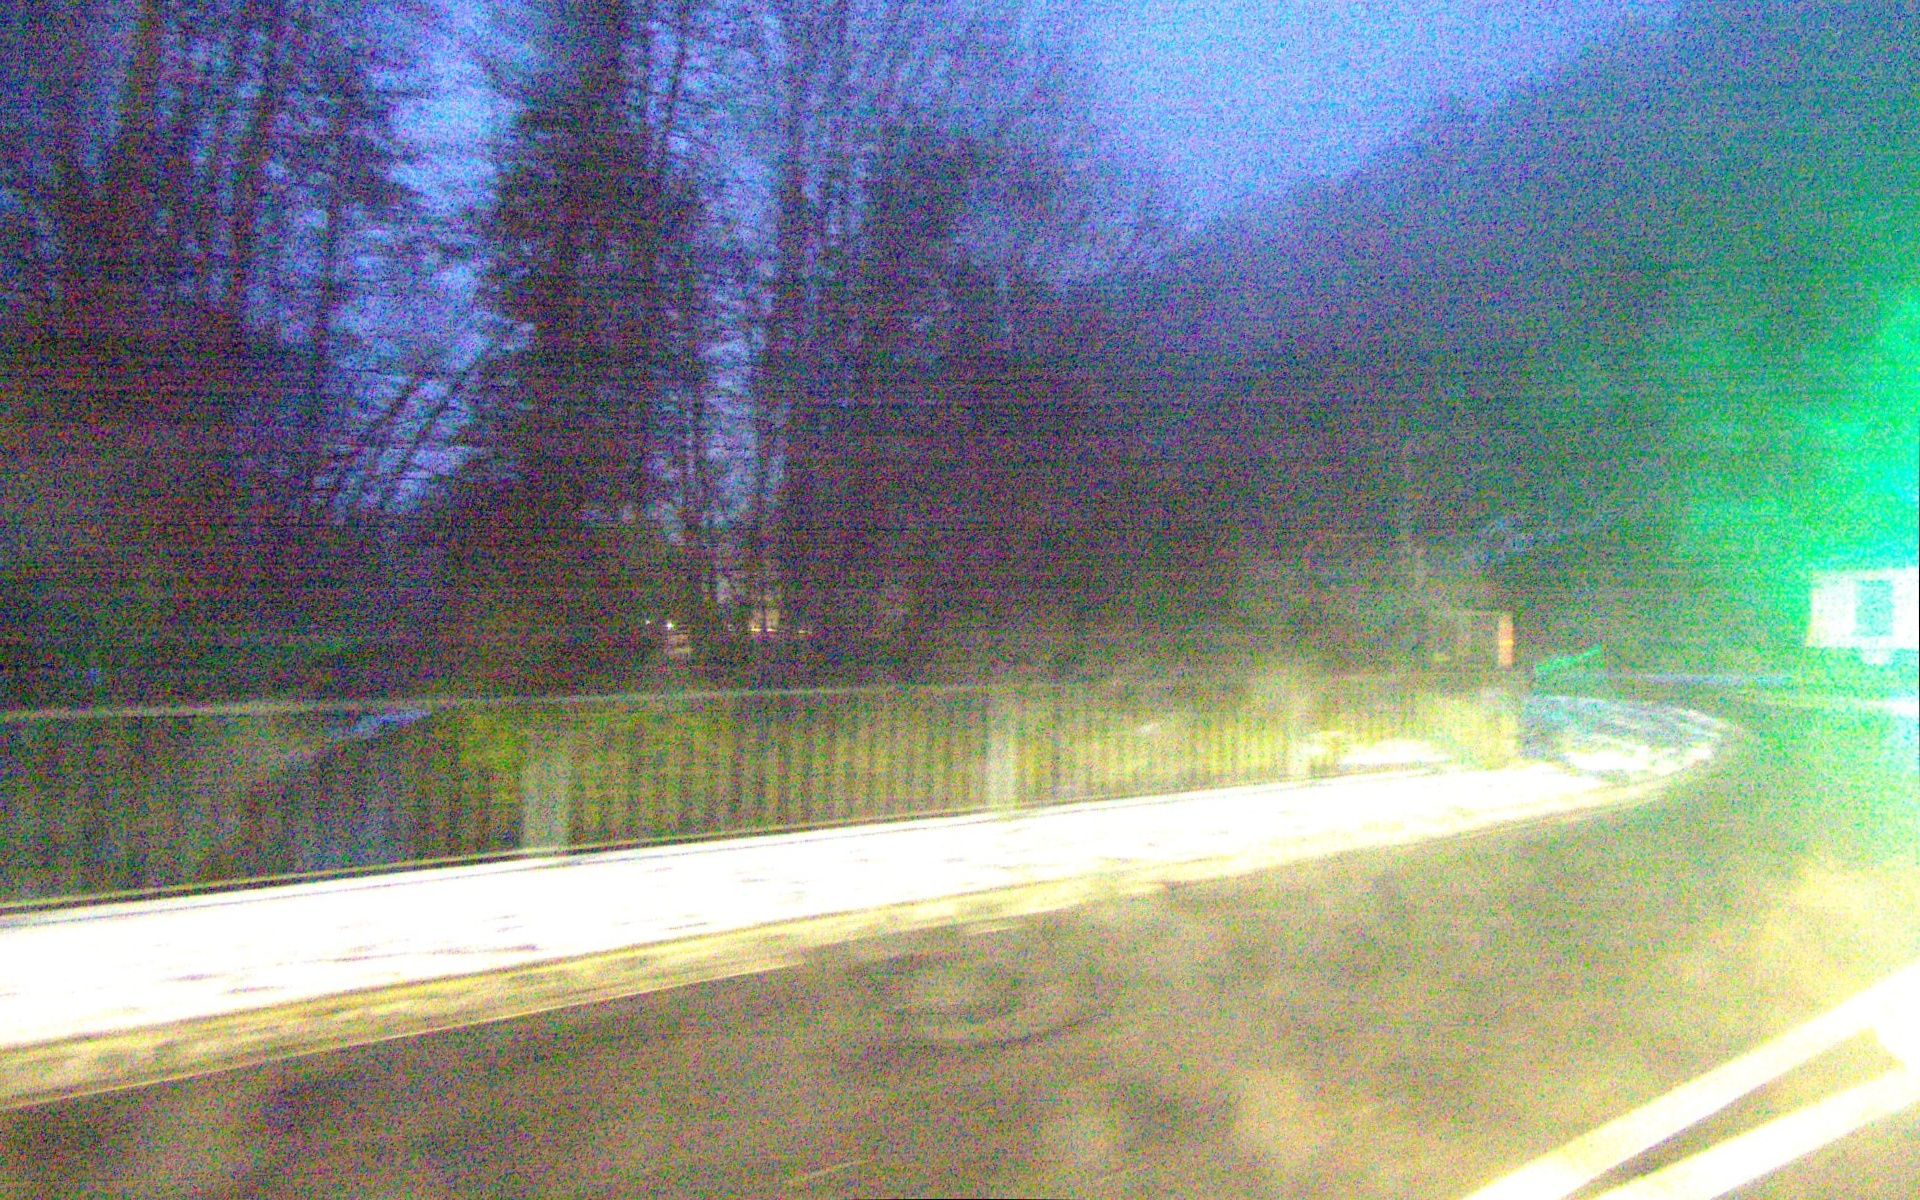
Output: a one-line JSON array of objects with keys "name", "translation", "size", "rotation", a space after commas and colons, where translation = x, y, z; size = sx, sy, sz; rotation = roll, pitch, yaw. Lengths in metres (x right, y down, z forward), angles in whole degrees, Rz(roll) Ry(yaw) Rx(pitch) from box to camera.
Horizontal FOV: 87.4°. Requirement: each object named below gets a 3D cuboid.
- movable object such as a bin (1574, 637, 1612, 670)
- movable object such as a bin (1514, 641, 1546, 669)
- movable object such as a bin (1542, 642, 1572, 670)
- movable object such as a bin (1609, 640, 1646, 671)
[{"name": "movable object such as a bin", "translation": [30.458, 2.559, 48.330], "size": [1.370, 1.432, 1.245], "rotation": [2, 2, 39]}, {"name": "movable object such as a bin", "translation": [28.508, 2.754, 50.231], "size": [1.300, 1.326, 1.173], "rotation": [-1, -1, 32]}, {"name": "movable object such as a bin", "translation": [29.264, 2.738, 49.223], "size": [1.212, 1.343, 1.150], "rotation": [-1, -1, 35]}, {"name": "movable object such as a bin", "translation": [31.507, 2.604, 47.403], "size": [1.298, 1.316, 1.245], "rotation": [2, 2, 39]}]
